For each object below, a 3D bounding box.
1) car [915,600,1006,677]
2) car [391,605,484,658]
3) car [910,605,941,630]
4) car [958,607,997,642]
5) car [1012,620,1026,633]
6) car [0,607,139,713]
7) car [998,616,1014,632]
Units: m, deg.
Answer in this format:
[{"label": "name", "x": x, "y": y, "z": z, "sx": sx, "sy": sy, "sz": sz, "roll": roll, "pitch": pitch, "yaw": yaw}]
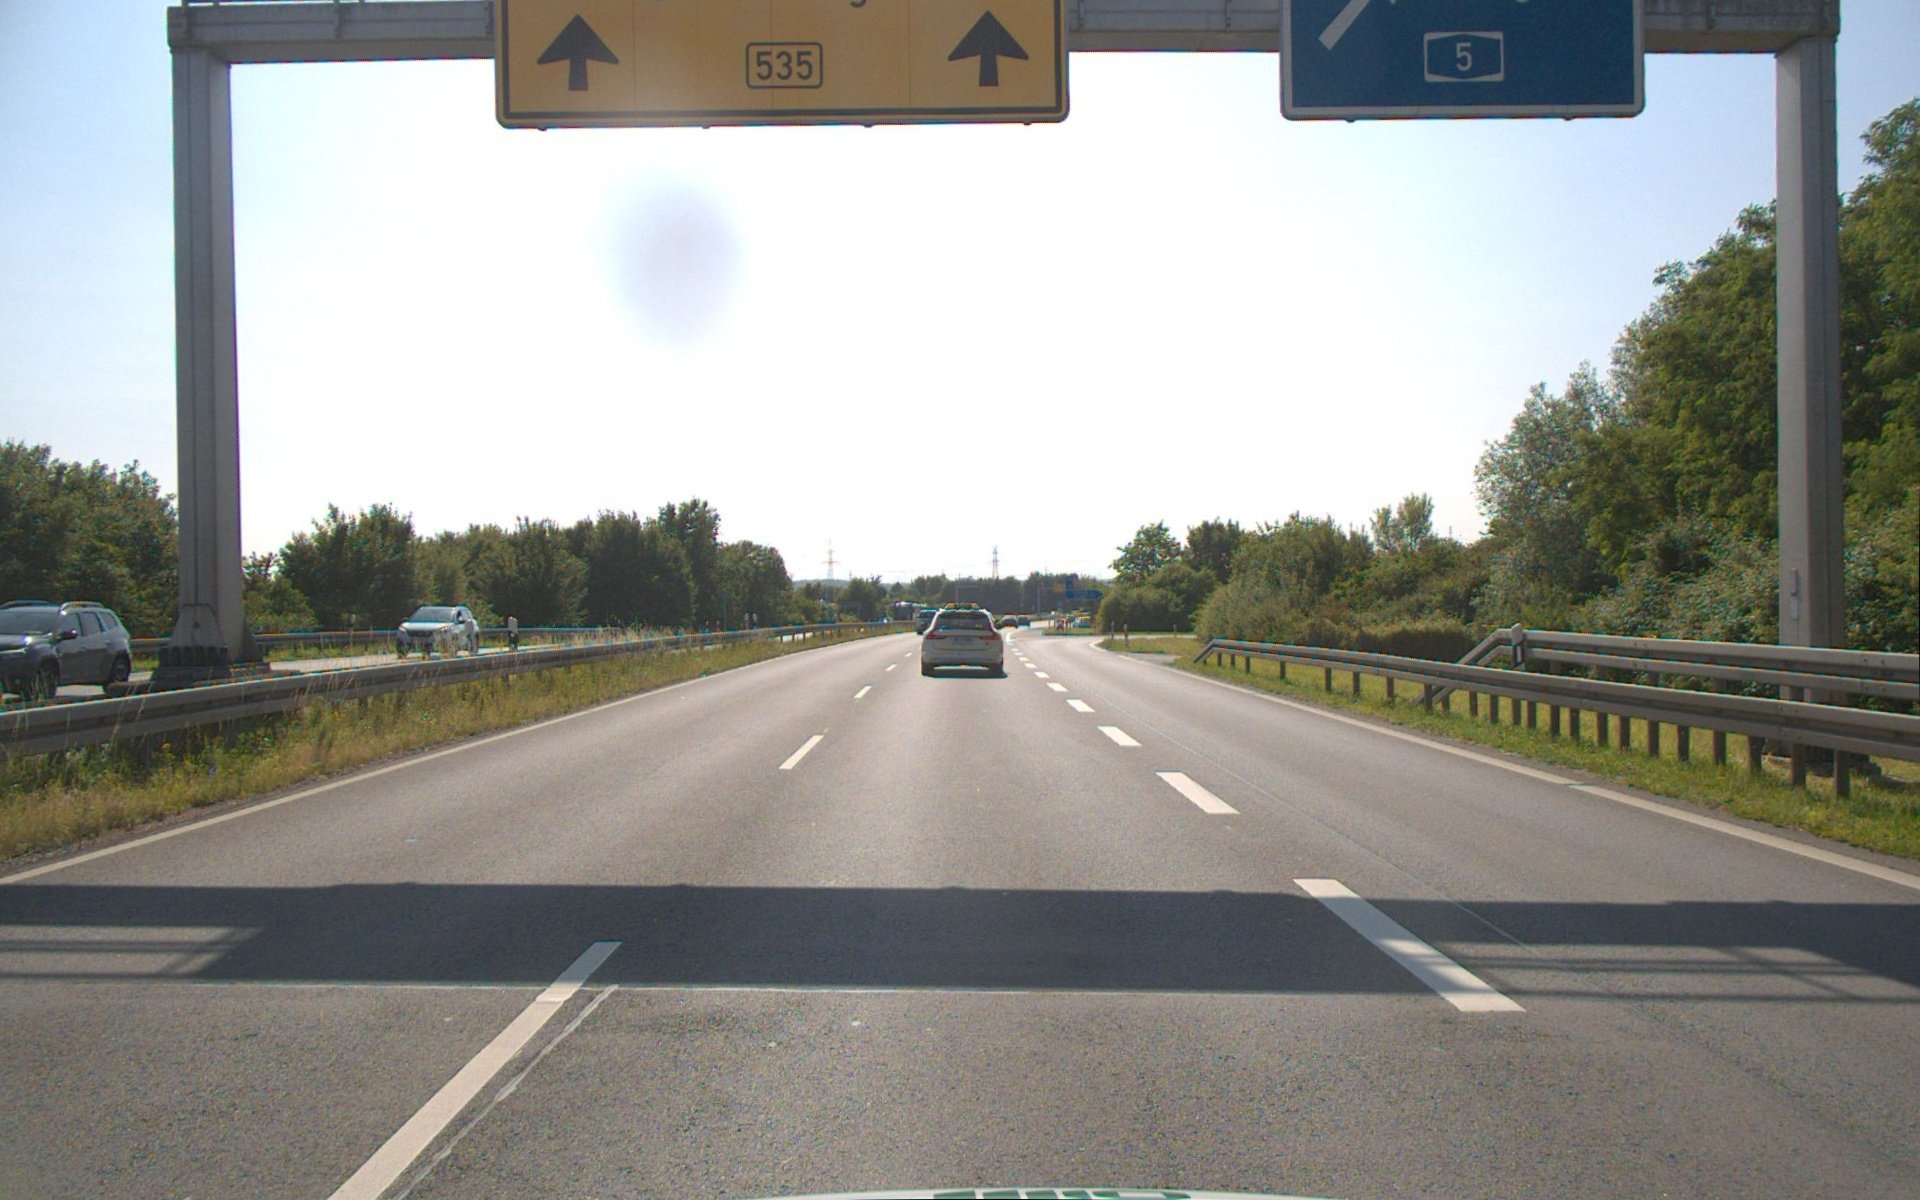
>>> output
[{"label": "car", "x": -0.044, "y": 0.832, "z": 38.011, "sx": 1.919, "sy": 1.629, "sz": 4.105, "roll": 1, "pitch": 0, "yaw": -2}, {"label": "car", "x": -17.190, "y": 0.994, "z": 54.634, "sx": 1.864, "sy": 1.648, "sz": 4.625, "roll": 1, "pitch": 0, "yaw": -4}, {"label": "car", "x": -2.228, "y": 1.131, "z": 105.840, "sx": 1.757, "sy": 1.529, "sz": 4.040, "roll": 1, "pitch": -1, "yaw": -4}, {"label": "car", "x": 0.792, "y": 1.153, "z": 77.722, "sx": 1.756, "sy": 1.570, "sz": 3.671, "roll": 0, "pitch": -1, "yaw": 0}, {"label": "car", "x": 7.719, "y": 3.450, "z": 217.858, "sx": 1.803, "sy": 1.728, "sz": 4.000, "roll": 0, "pitch": -1, "yaw": 1}, {"label": "car", "x": -15.787, "y": 0.953, "z": 28.217, "sx": 1.698, "sy": 1.645, "sz": 4.000, "roll": 0, "pitch": 0, "yaw": -3}, {"label": "car", "x": 5.328, "y": 2.745, "z": 191.529, "sx": 1.803, "sy": 1.834, "sz": 4.001, "roll": 0, "pitch": -1, "yaw": 2}]
